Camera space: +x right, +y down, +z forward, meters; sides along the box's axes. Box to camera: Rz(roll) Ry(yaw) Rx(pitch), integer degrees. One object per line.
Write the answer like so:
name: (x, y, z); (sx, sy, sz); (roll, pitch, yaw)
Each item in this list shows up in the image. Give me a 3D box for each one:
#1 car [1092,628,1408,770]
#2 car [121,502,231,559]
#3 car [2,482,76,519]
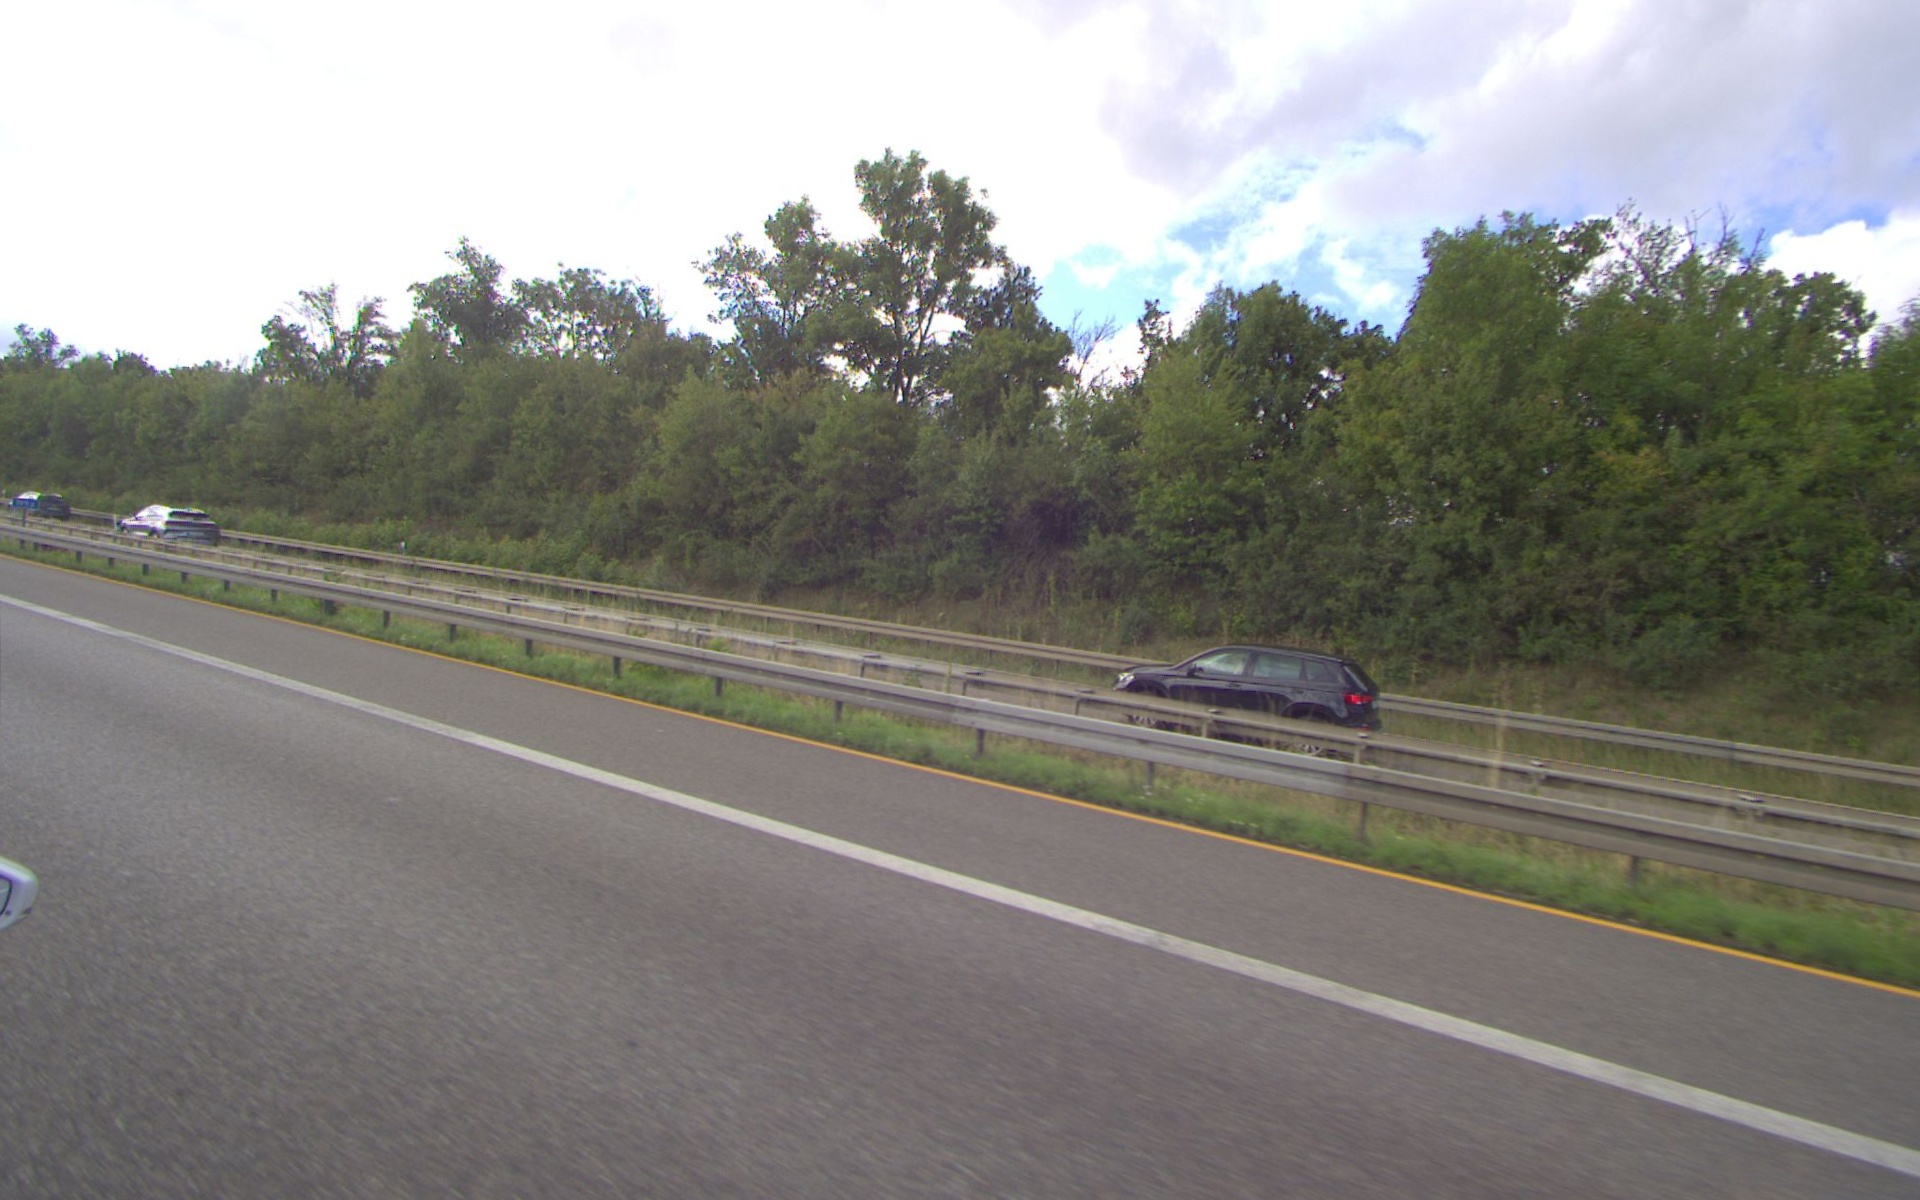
car: (4.605, 1.479, 16.227); (4.450, 1.504, 1.844); (7, 2, 32)
car: (-29.510, -2.613, 37.853); (4.234, 1.671, 1.847); (7, 2, 32)
car: (-50.086, -5.420, 54.686); (4.233, 1.566, 1.730); (7, 2, 30)
